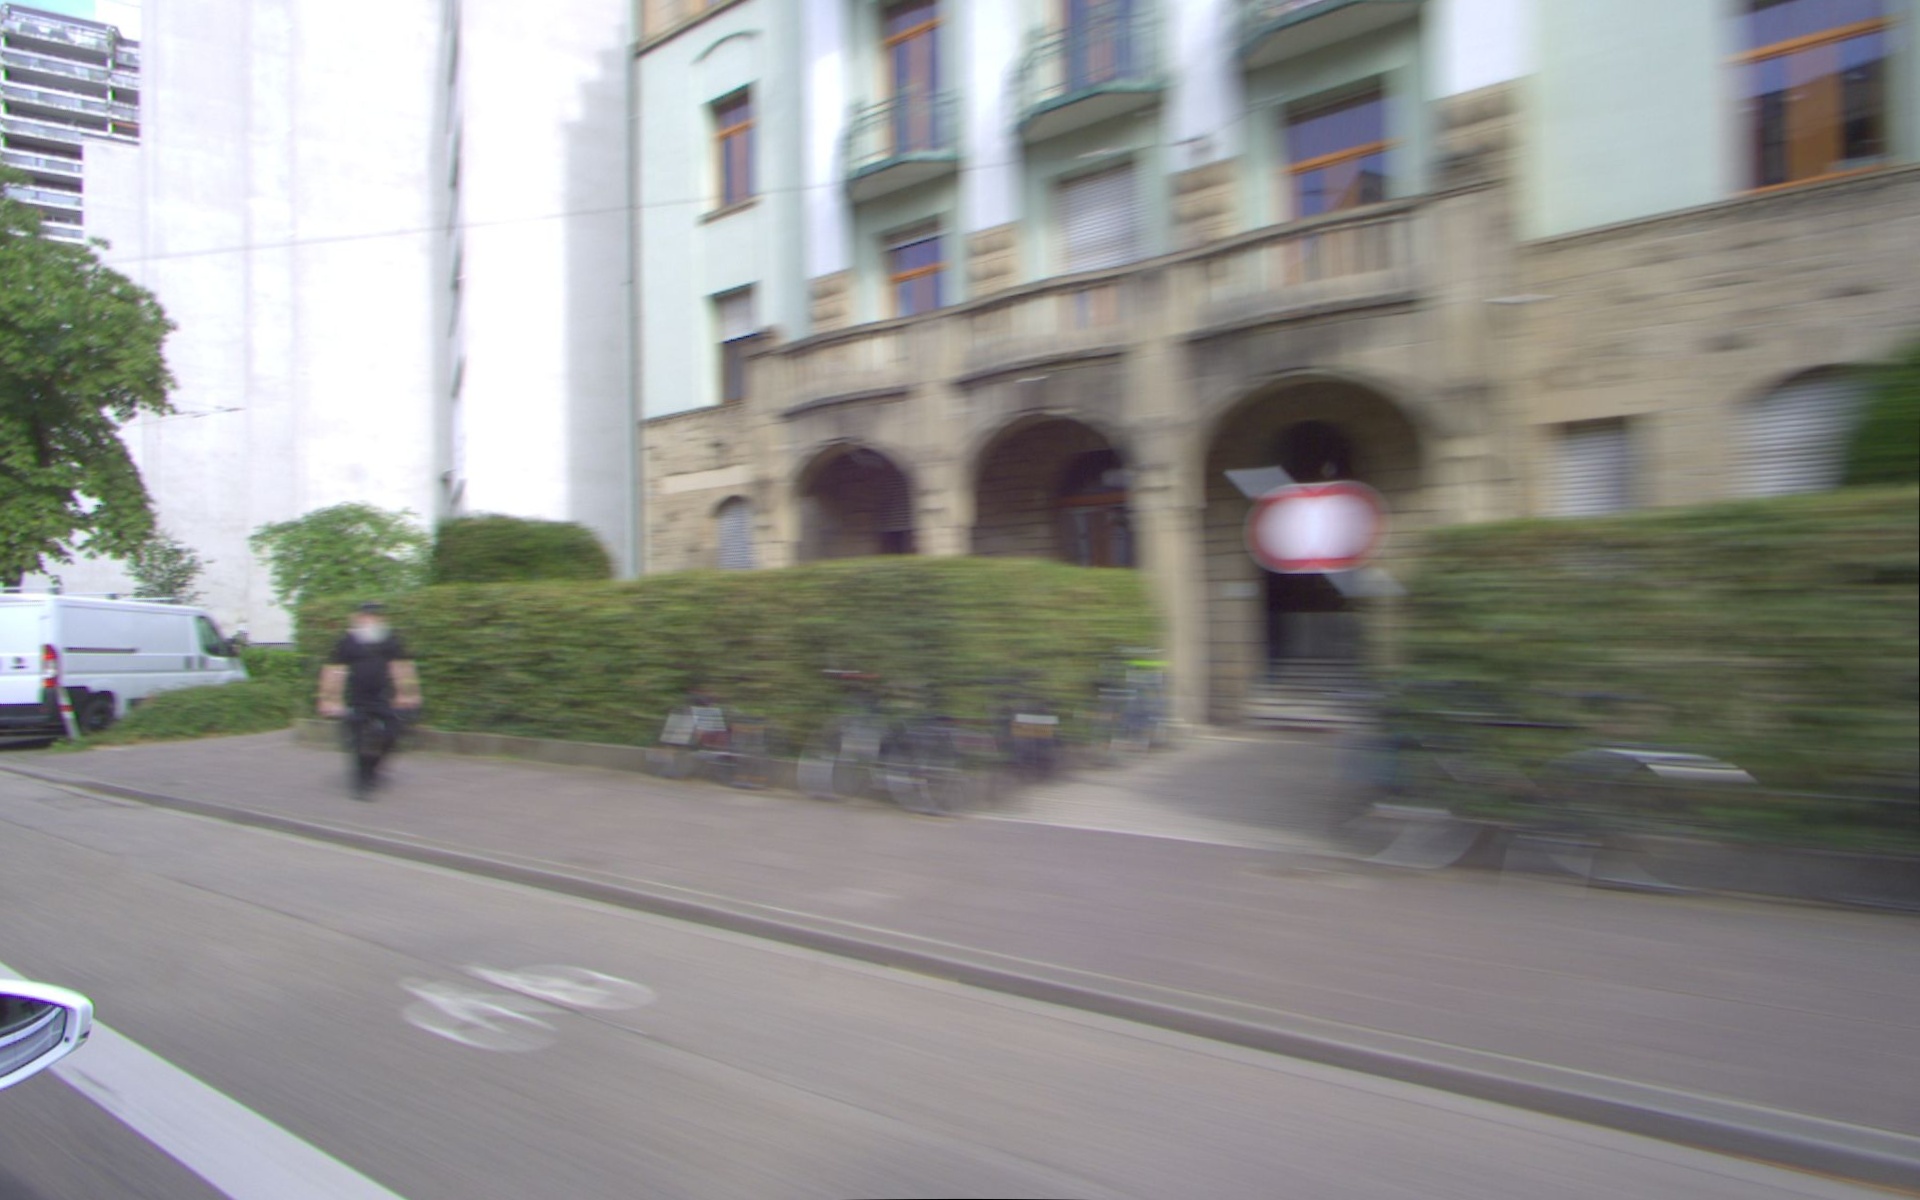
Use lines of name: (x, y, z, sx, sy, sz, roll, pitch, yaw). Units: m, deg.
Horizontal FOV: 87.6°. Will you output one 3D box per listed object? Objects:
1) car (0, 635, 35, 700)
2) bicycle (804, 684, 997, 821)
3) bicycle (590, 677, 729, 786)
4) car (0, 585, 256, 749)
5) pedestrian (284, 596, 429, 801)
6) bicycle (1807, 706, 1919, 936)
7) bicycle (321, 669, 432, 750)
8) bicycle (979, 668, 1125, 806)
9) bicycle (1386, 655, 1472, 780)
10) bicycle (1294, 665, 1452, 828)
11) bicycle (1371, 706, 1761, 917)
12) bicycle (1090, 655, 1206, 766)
car: (-25.663, 1.725, 25.137, 1.658, 1.689, 4.108, 0, -2, -11)
bicycle: (-0.497, 1.137, 7.765, 1.645, 0.919, 0.384, -2, -1, 39)
bicycle: (-2.879, 1.209, 9.506, 1.645, 0.919, 0.384, -2, -1, 39)
car: (-14.312, 1.056, 16.591, 2.339, 2.319, 4.959, 0, -2, -8)
pedestrian: (-5.544, 0.862, 9.217, 0.883, 1.756, 0.783, -1, 1, 34)
bicycle: (4.586, 0.940, 4.114, 1.644, 0.919, 0.484, -2, -1, 38)
bicycle: (-7.224, 1.325, 12.356, 1.816, 0.919, 0.385, -2, 0, 33)
bicycle: (0.796, 1.068, 8.220, 0.480, 0.919, 1.656, -2, -1, 32)
bicycle: (4.041, 0.964, 8.589, 0.384, 0.899, 1.434, -1, 1, 36)
bicycle: (2.928, 0.965, 7.014, 0.482, 0.919, 1.650, -2, -1, 42)
bicycle: (3.011, 1.030, 5.150, 1.637, 0.919, 0.486, -2, 0, 23)
bicycle: (1.883, 1.042, 9.856, 0.481, 0.919, 1.655, -2, -1, 34)
